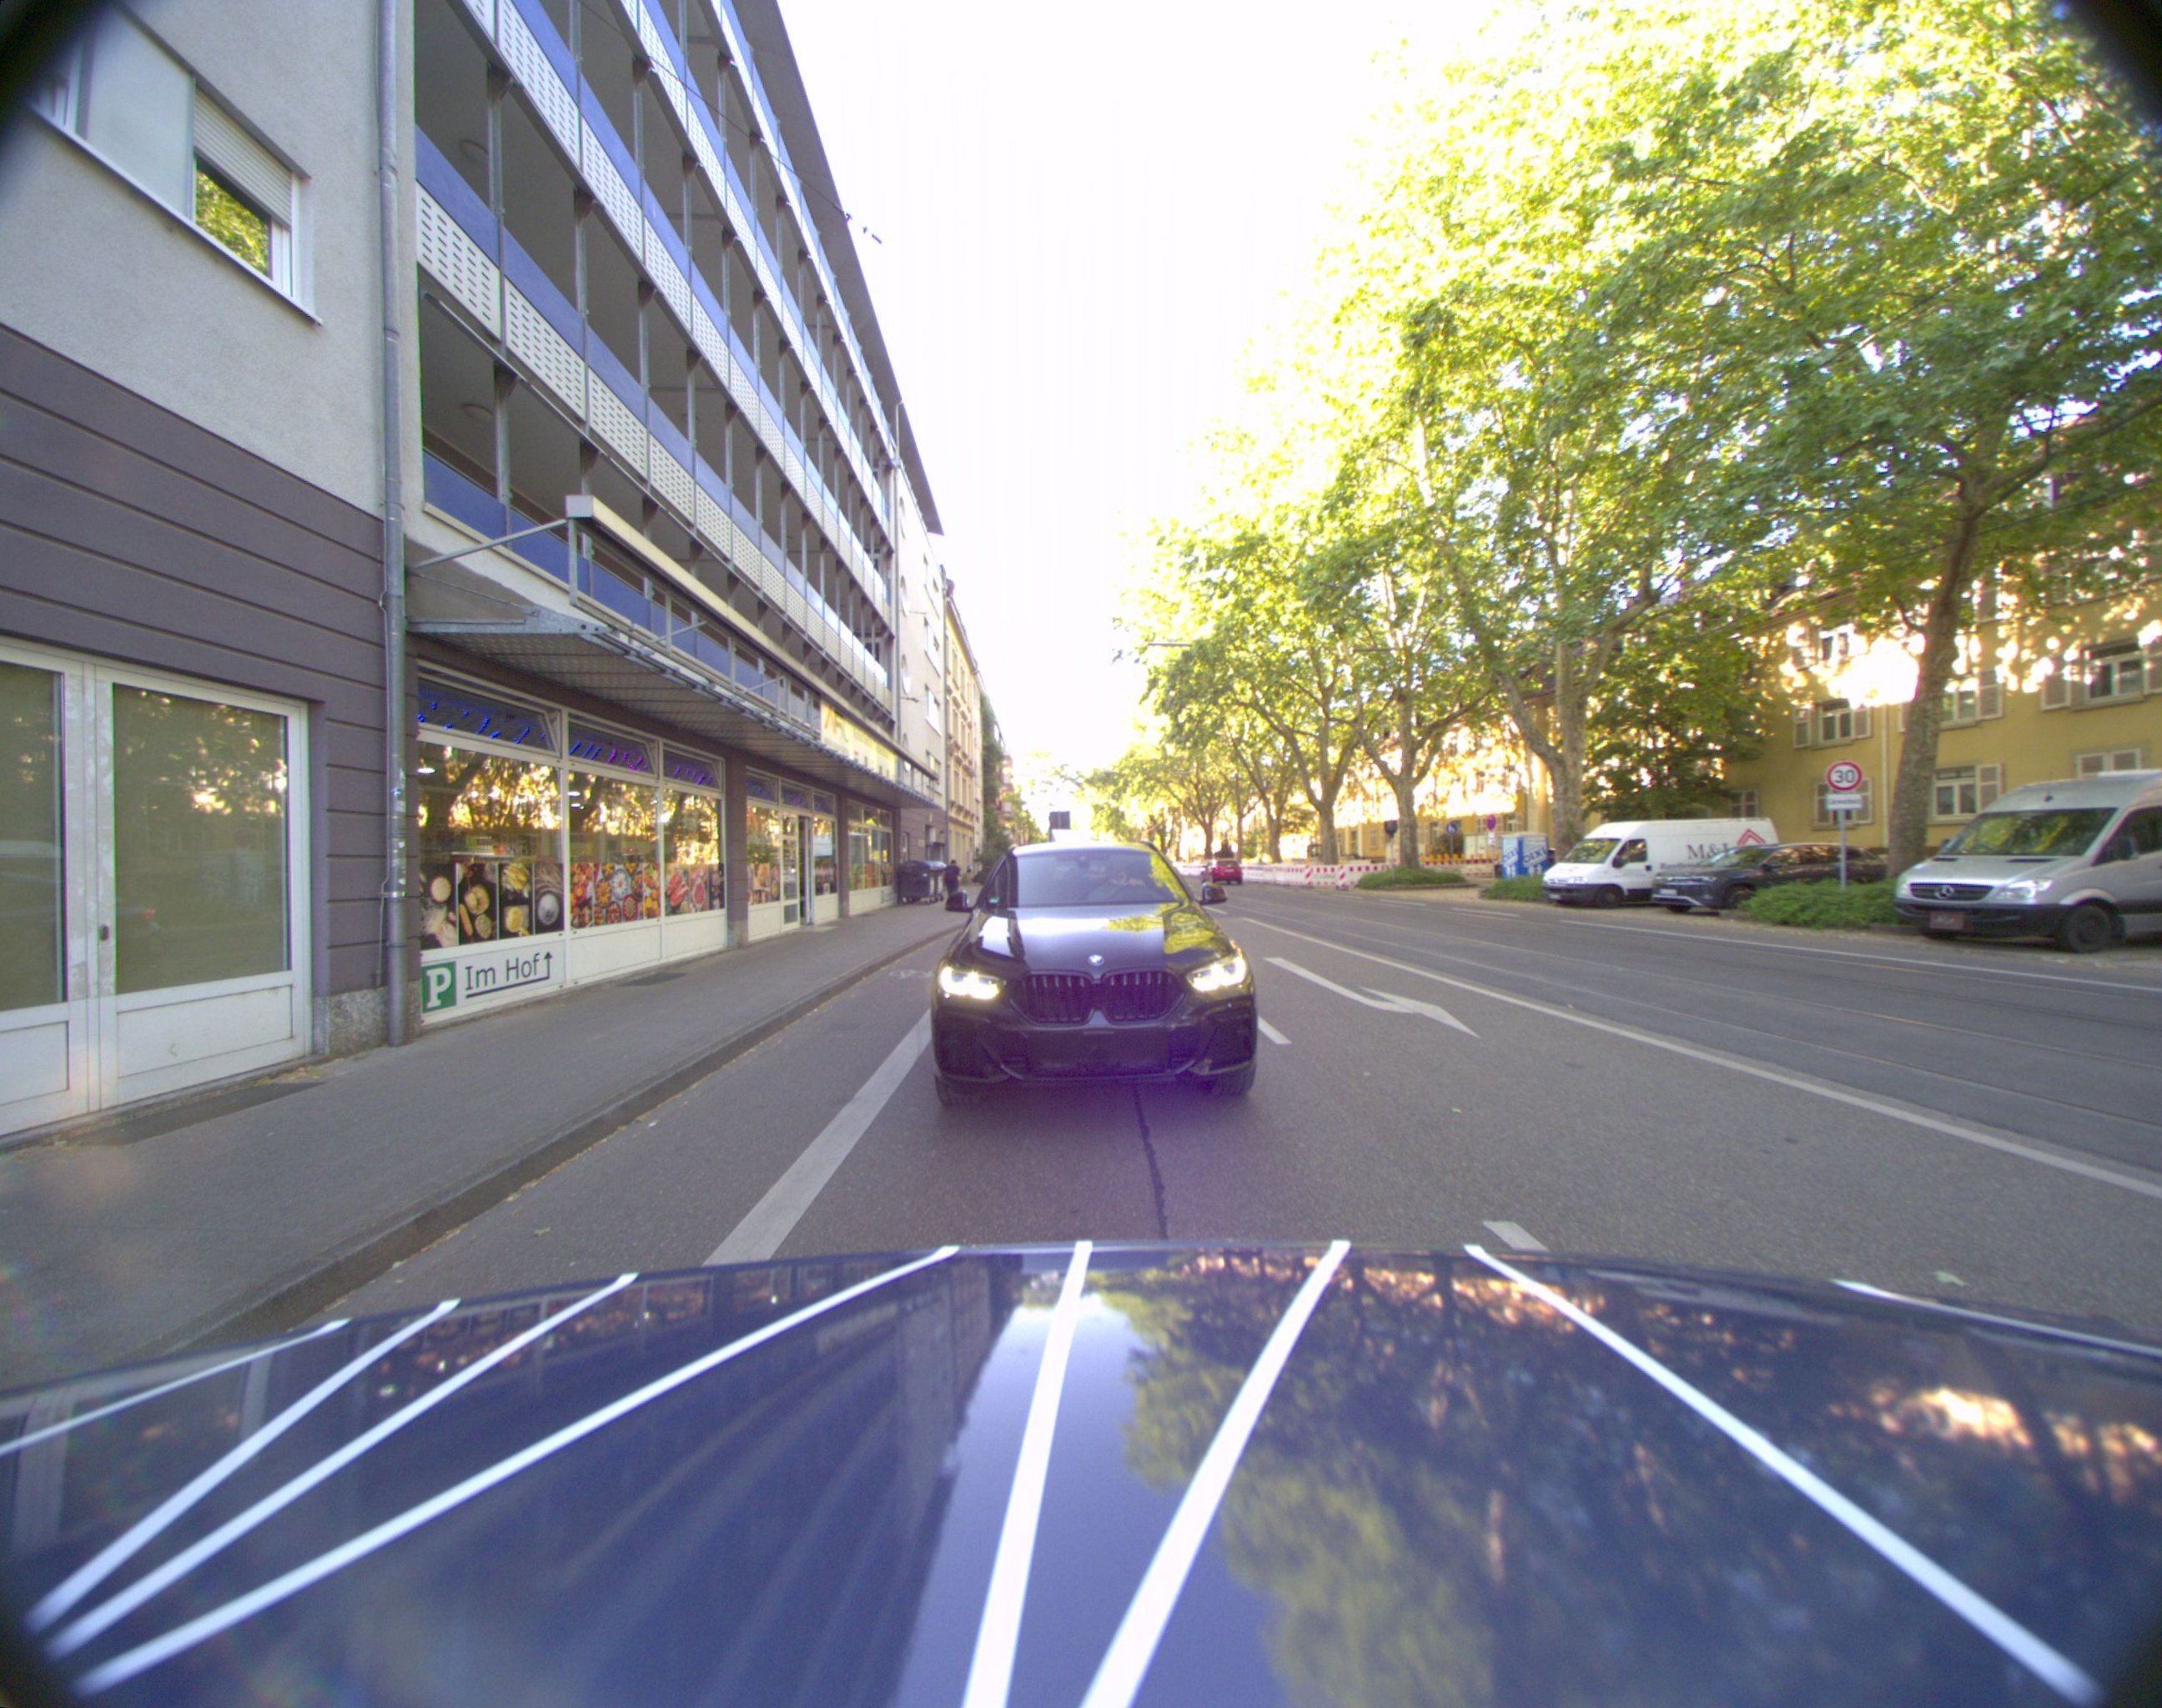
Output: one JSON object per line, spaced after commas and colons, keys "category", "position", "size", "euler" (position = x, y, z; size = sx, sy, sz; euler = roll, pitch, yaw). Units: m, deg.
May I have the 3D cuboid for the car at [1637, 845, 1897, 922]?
{"category": "car", "position": [16.073, 0.655, 17.949], "size": [4.627, 1.642, 1.774], "euler": [-1, 0, -2]}

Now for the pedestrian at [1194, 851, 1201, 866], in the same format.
{"category": "pedestrian", "position": [14.966, 0.534, 97.770], "size": [0.732, 1.875, 0.665], "euler": [-2, 1, 18]}

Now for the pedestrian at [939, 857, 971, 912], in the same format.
{"category": "pedestrian", "position": [-3.707, 0.887, 22.447], "size": [0.864, 1.582, 0.622], "euler": [-1, 0, -5]}

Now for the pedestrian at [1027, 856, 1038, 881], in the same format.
{"category": "pedestrian", "position": [-3.867, 1.140, 60.340], "size": [0.733, 1.875, 0.664], "euler": [-2, 1, -1]}

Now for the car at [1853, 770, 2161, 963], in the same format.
{"category": "car", "position": [15.980, 0.126, 11.867], "size": [5.666, 2.666, 2.223], "euler": [-2, 0, -2]}

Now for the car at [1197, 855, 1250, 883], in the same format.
{"category": "car", "position": [8.338, 0.851, 44.789], "size": [2.022, 1.556, 4.490], "euler": [-1, 0, -3]}

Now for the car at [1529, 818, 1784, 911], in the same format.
{"category": "car", "position": [15.839, 0.287, 21.156], "size": [5.404, 2.362, 2.223], "euler": [-1, 0, 0]}

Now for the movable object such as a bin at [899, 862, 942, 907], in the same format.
{"category": "movable object such as a bin", "position": [-5.203, 0.965, 24.654], "size": [1.158, 1.418, 0.939], "euler": [-1, 0, 1]}

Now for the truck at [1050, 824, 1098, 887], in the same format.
{"category": "truck", "position": [-0.322, 0.116, 42.085], "size": [2.394, 3.170, 6.587], "euler": [-1, 0, 1]}

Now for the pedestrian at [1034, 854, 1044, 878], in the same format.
{"category": "pedestrian", "position": [-3.276, 0.920, 59.356], "size": [0.733, 1.875, 0.664], "euler": [-2, 1, -1]}

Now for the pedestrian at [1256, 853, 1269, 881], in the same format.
{"category": "pedestrian", "position": [11.589, 0.832, 48.502], "size": [0.651, 1.735, 0.583], "euler": [-2, 1, 3]}

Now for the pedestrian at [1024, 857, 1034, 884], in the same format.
{"category": "pedestrian", "position": [-3.722, 1.197, 54.774], "size": [0.600, 1.875, 0.581], "euler": [-2, 1, -1]}

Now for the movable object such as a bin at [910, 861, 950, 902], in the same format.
{"category": "movable object such as a bin", "position": [-5.288, 0.949, 26.693], "size": [1.158, 1.418, 0.939], "euler": [-1, 0, 1]}

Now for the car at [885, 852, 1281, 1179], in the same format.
{"category": "car", "position": [0.038, 0.836, 6.027], "size": [1.998, 1.643, 4.295], "euler": [-1, 0, 1]}
